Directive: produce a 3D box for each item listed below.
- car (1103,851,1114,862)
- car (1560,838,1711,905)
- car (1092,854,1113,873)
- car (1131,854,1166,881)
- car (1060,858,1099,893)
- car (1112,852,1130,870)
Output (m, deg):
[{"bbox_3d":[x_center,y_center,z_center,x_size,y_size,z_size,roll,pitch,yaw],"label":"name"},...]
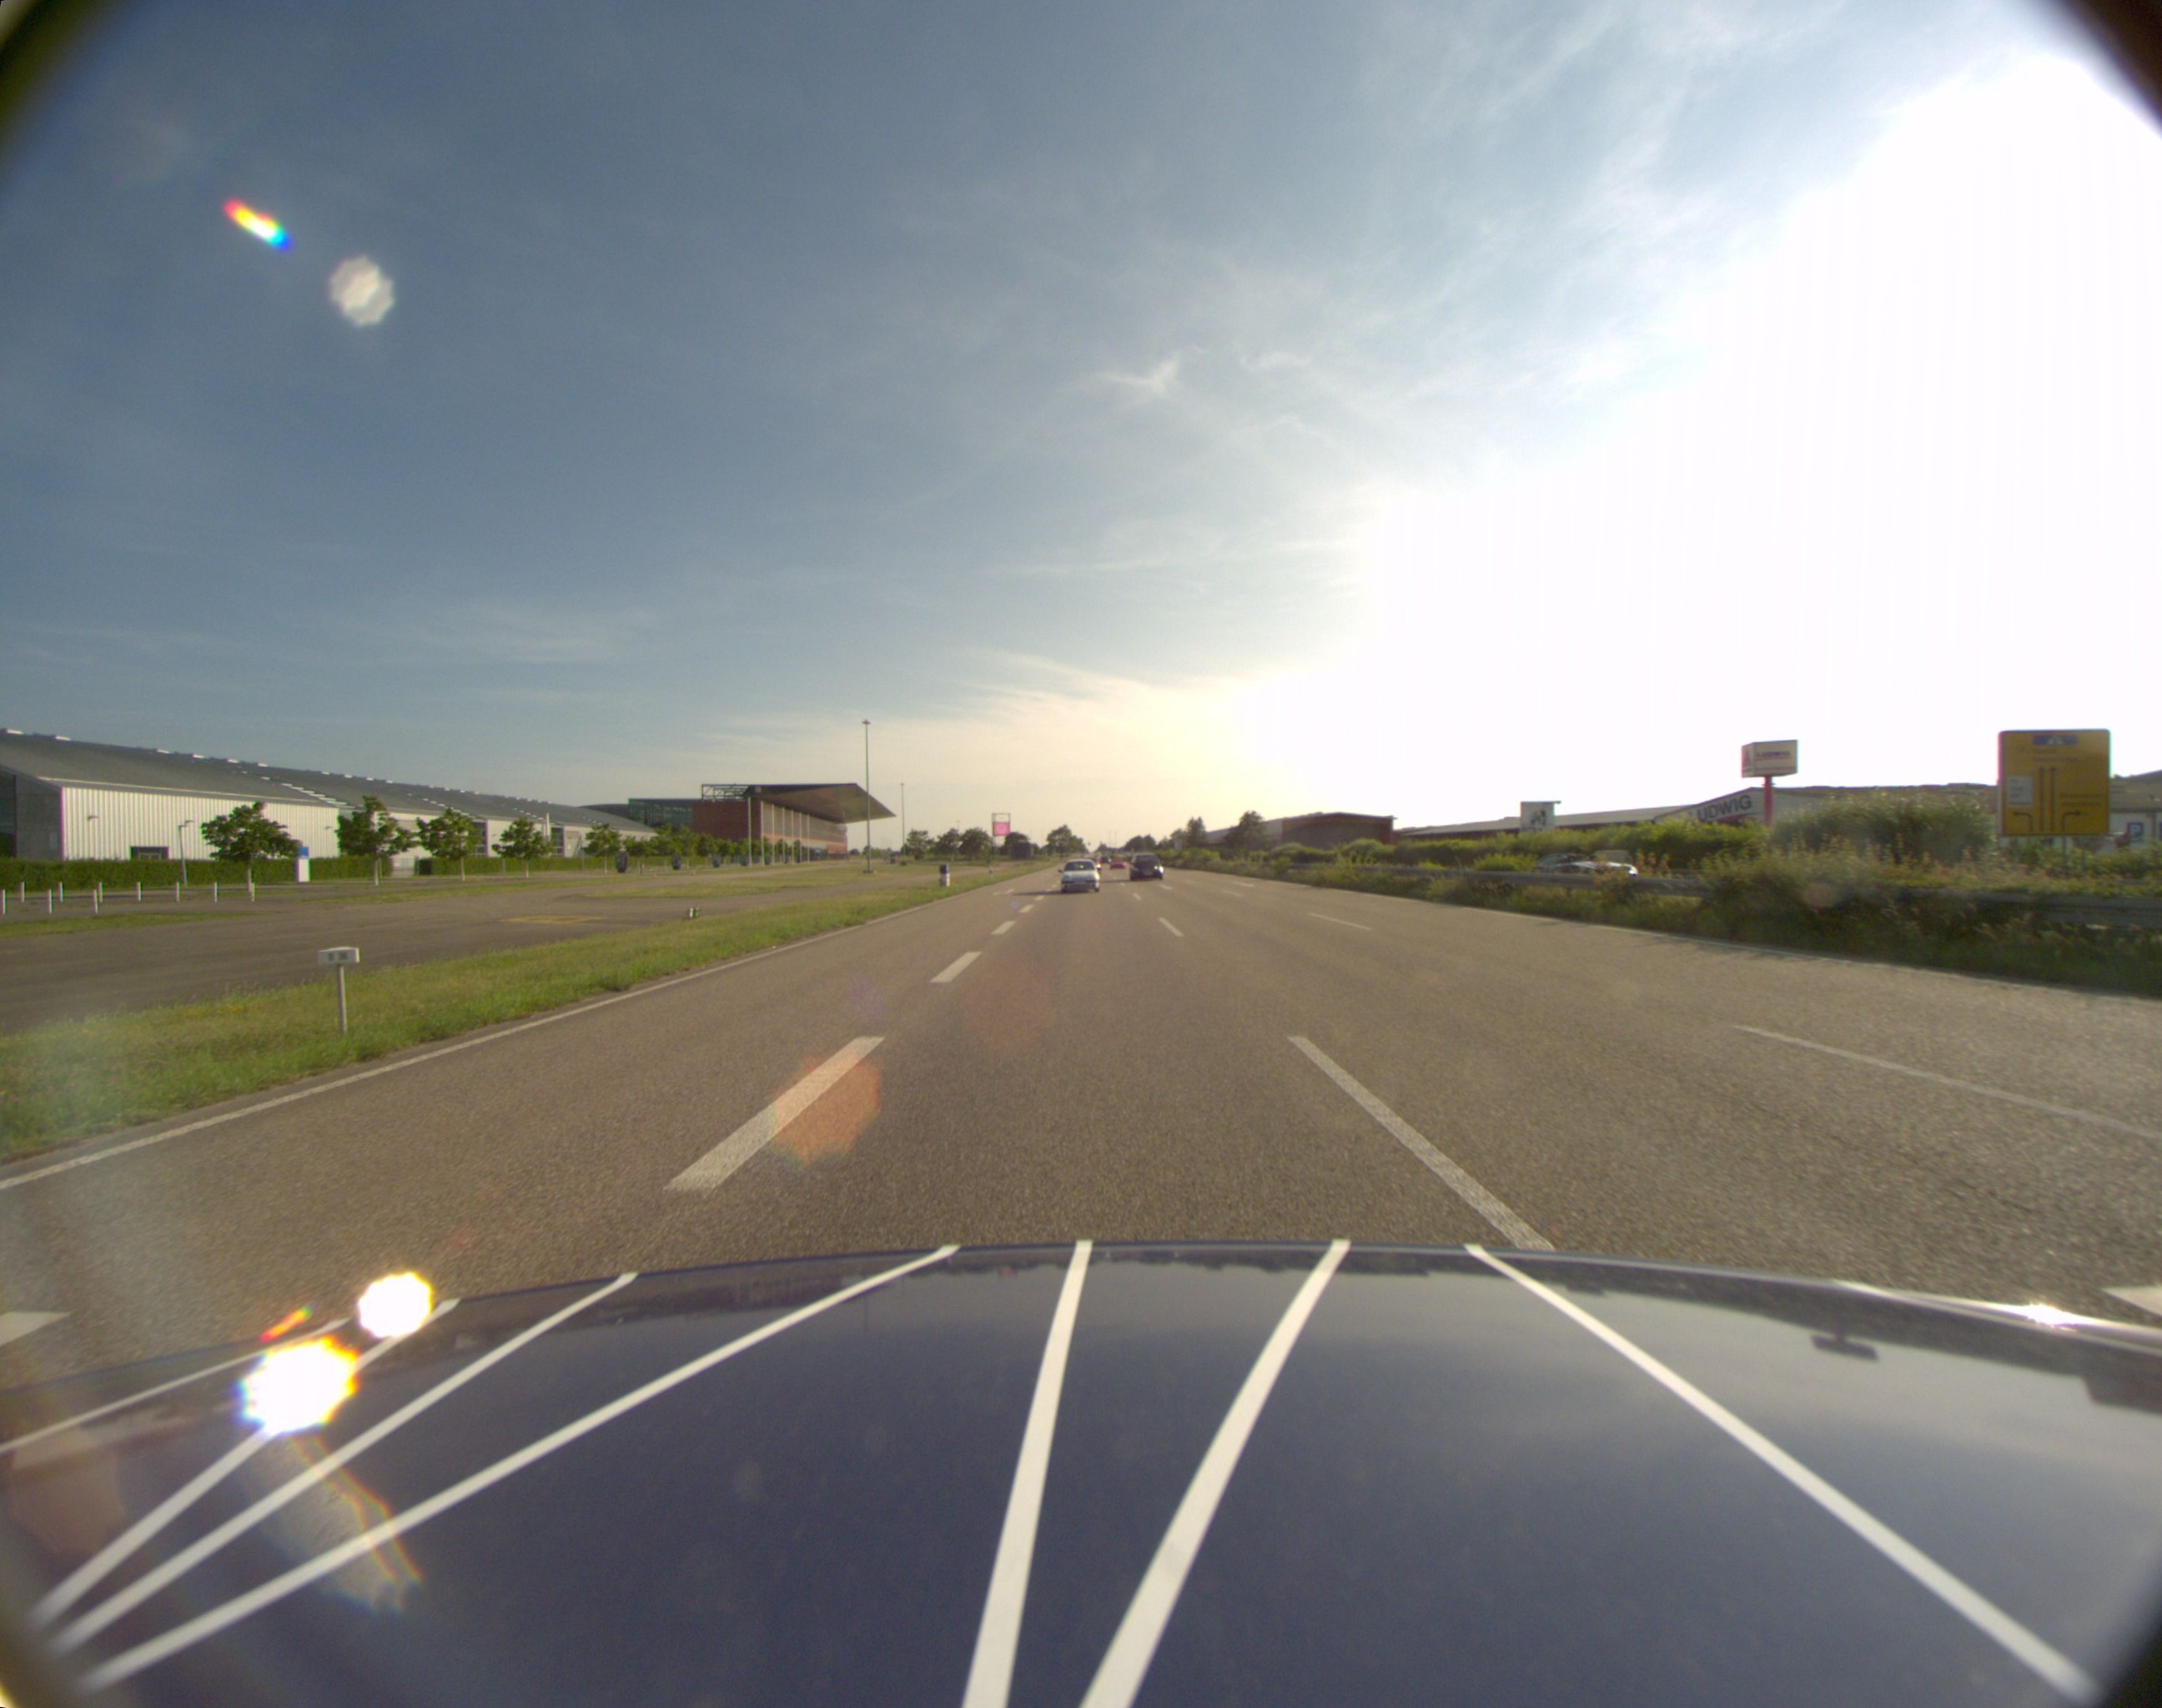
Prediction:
[{"bbox_3d":[5.167,0.491,143.186,1.998,2.002,4.000,-1,0,1],"label":"car"},{"bbox_3d":[14.916,0.432,20.675,1.599,1.634,3.460,-1,0,0],"label":"car"},{"bbox_3d":[1.830,0.769,65.500,1.751,1.512,3.739,-1,0,1],"label":"car"},{"bbox_3d":[3.929,0.749,44.824,1.758,1.499,3.422,-1,0,0],"label":"car"},{"bbox_3d":[-0.038,0.898,33.088,1.578,1.371,3.452,-1,0,1],"label":"car"},{"bbox_3d":[4.669,0.794,89.088,1.799,1.926,4.000,-1,0,1],"label":"car"}]
